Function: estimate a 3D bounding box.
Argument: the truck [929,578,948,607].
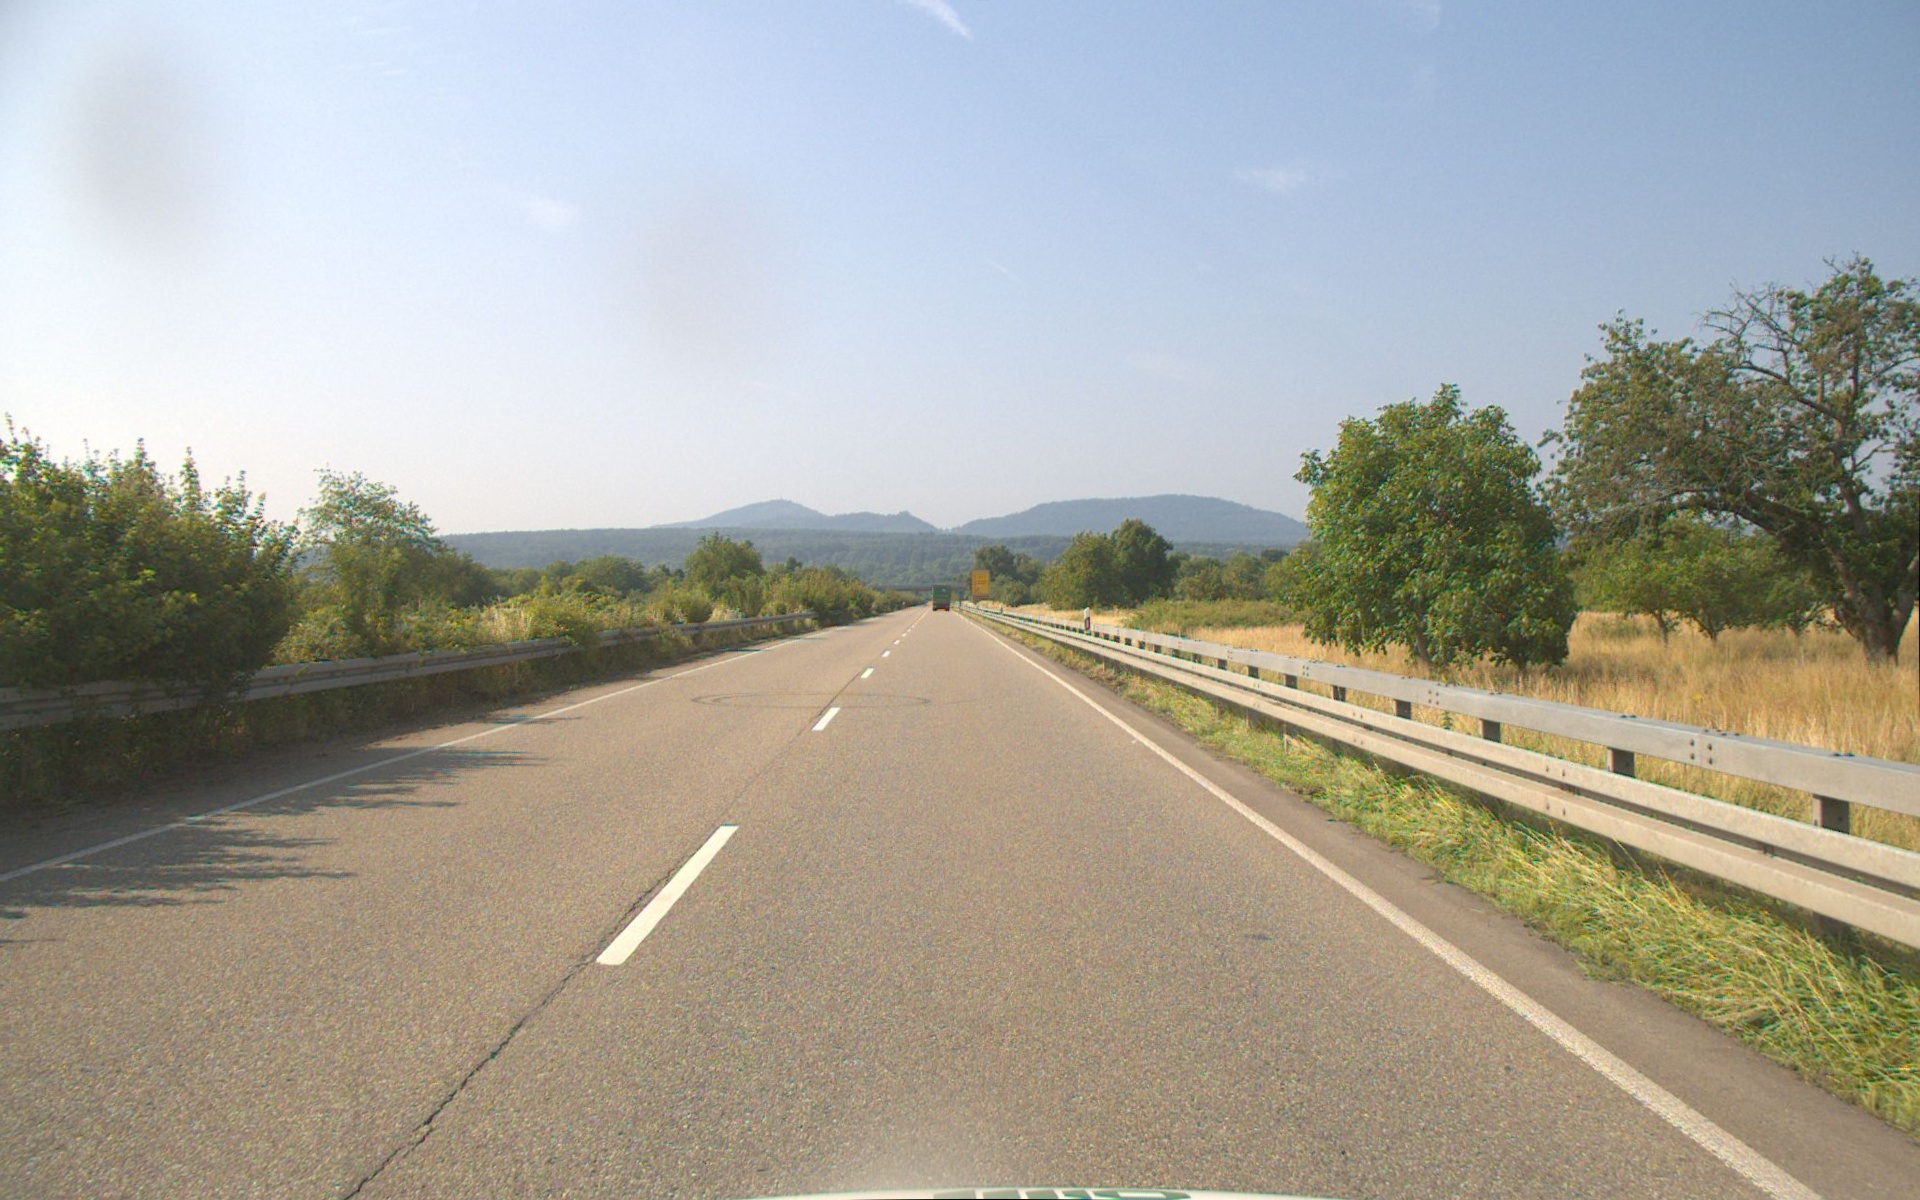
[{"bbox_3d":[-3.074,-1.183,239.558,2.666,4.034,10.415,1,1,0],"label":"truck"}]
